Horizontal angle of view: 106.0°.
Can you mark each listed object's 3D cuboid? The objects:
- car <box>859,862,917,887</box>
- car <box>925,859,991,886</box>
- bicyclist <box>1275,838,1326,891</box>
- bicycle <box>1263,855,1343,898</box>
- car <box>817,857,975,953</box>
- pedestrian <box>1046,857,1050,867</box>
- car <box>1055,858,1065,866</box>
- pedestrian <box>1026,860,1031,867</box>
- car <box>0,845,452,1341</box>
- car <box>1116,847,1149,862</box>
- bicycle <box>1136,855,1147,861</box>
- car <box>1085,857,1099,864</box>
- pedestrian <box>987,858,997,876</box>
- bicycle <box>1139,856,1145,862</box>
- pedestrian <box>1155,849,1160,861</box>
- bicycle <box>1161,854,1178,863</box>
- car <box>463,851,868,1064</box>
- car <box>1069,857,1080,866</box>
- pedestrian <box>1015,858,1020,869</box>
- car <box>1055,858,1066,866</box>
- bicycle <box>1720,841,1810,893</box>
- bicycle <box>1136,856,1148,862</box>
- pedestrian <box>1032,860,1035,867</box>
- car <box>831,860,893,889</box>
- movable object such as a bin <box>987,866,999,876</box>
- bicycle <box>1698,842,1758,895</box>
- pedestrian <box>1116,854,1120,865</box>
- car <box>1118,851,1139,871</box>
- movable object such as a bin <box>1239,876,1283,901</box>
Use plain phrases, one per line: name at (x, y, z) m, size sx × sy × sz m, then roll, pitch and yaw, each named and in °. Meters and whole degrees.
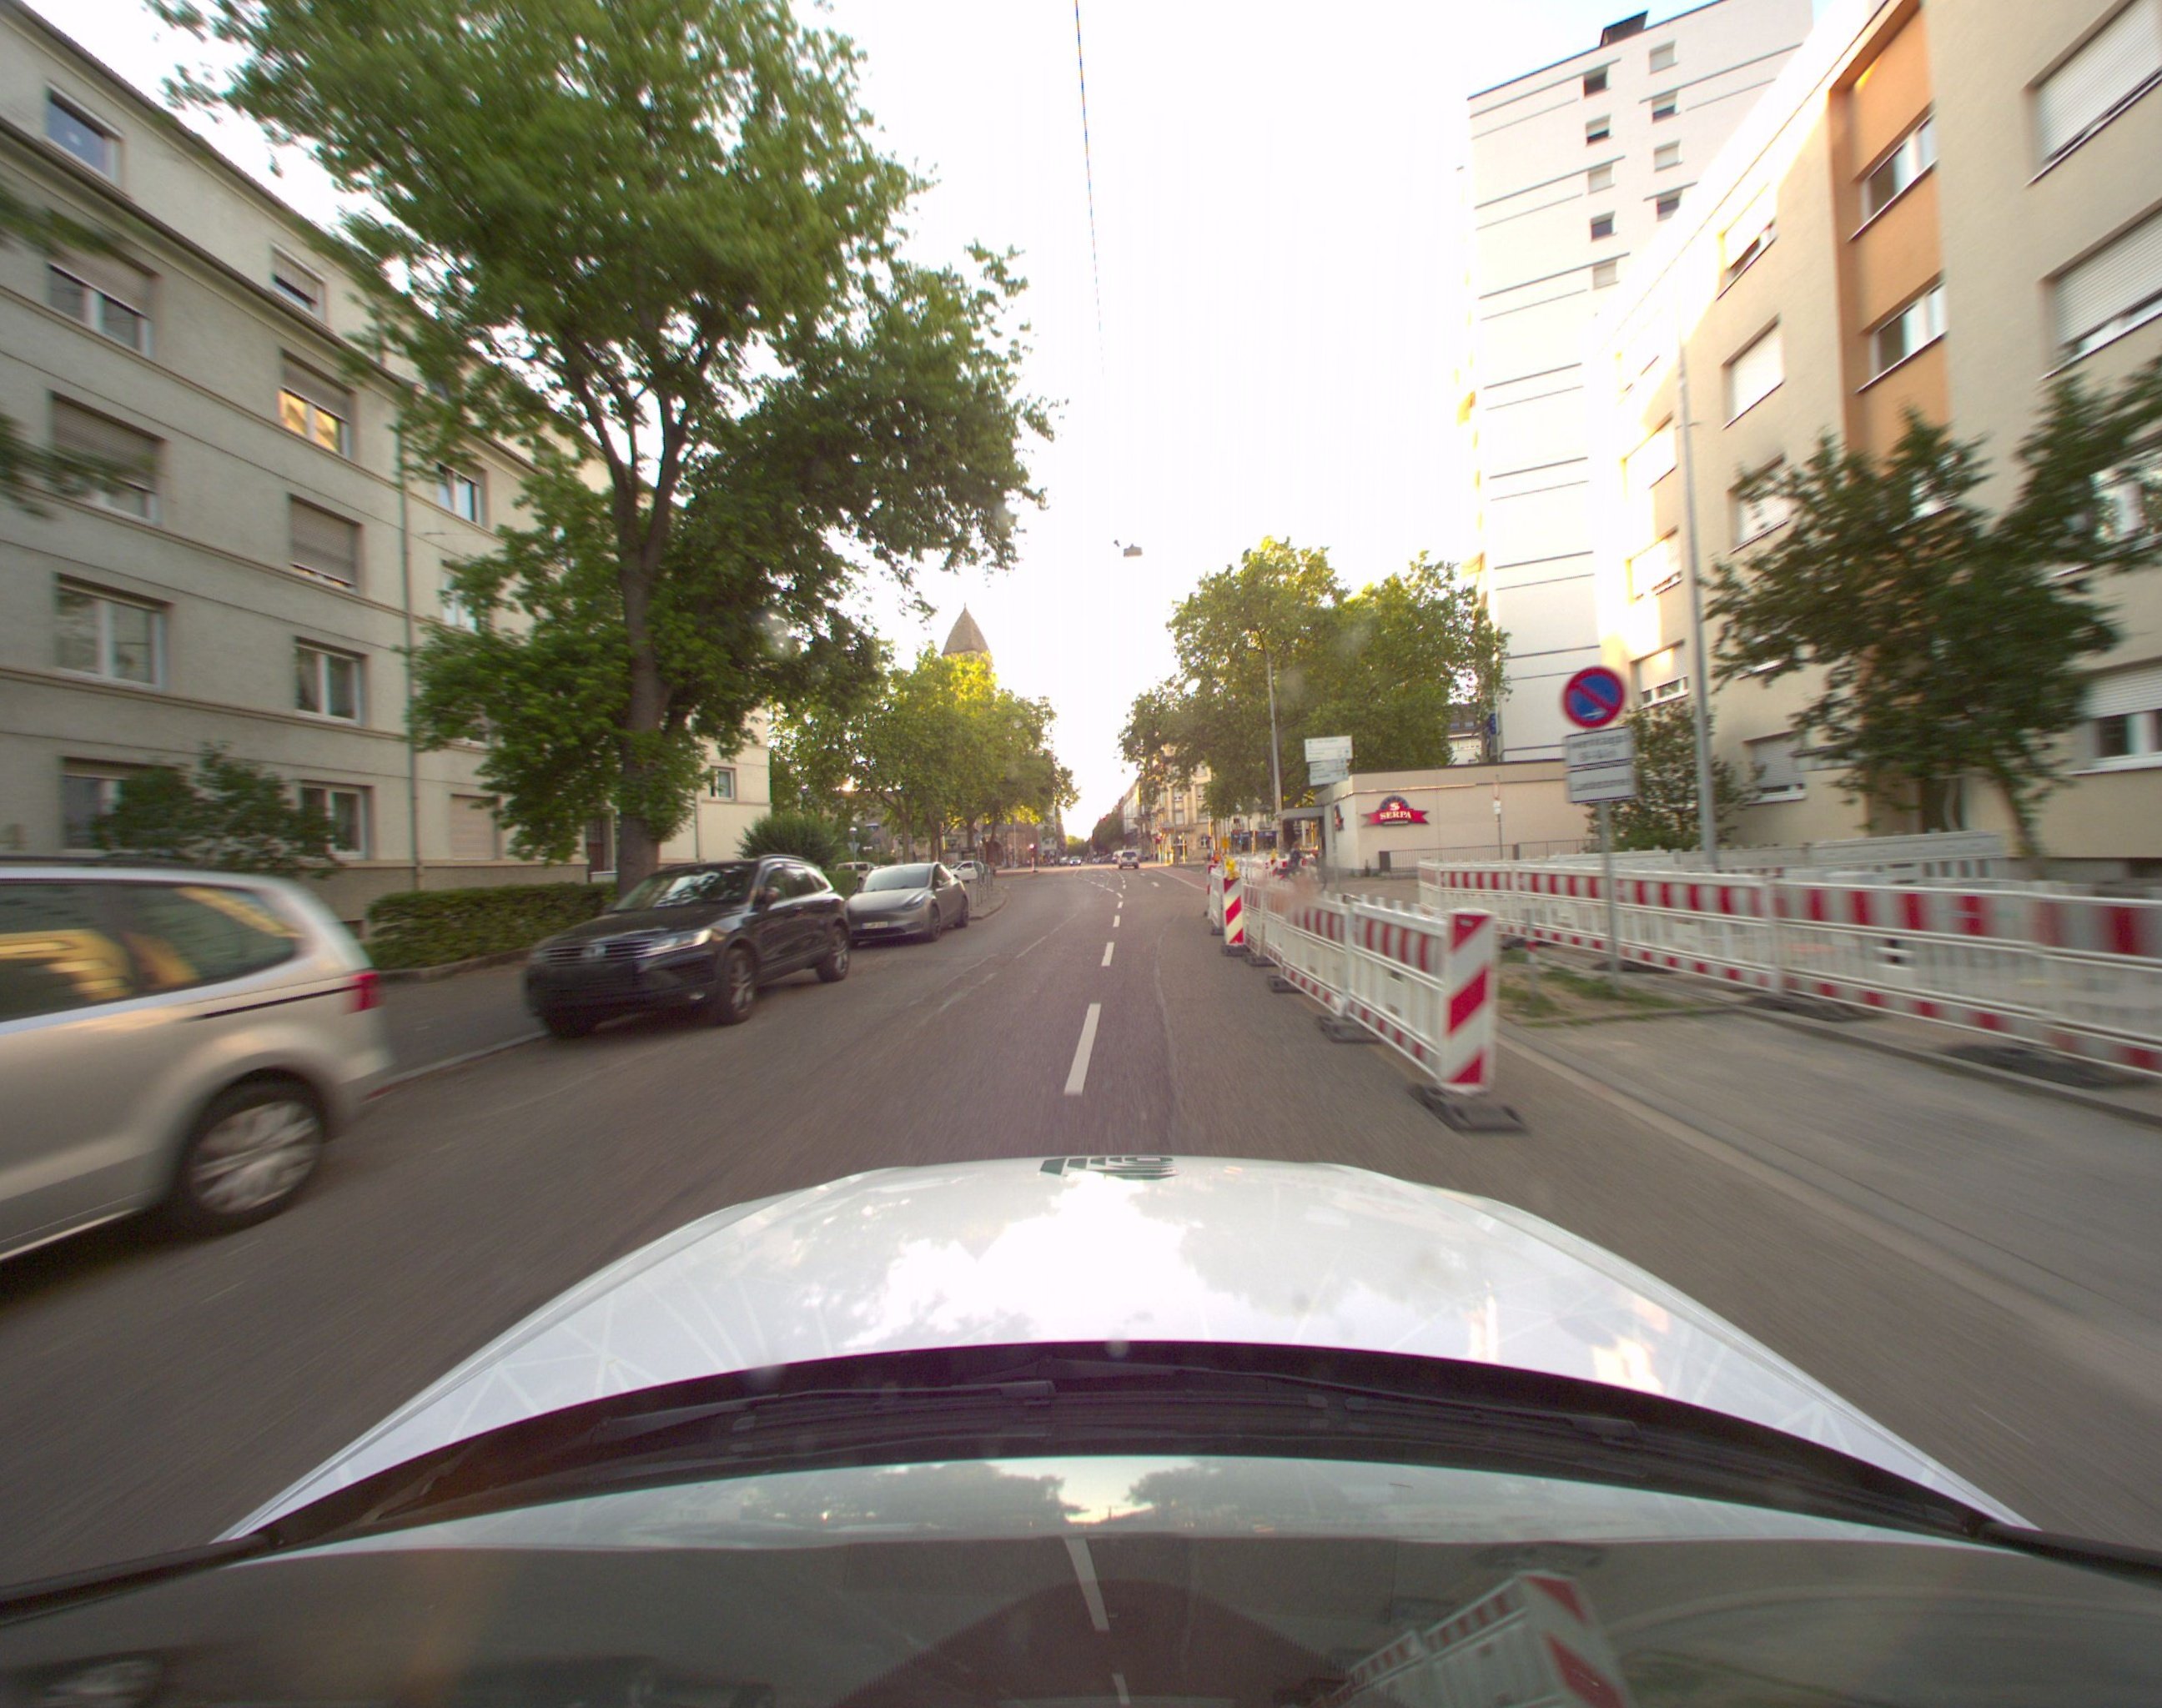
car at (-13.541, 1.412, 57.358) m, size 1.804 × 1.481 × 4.652 m, roll -3°, pitch 1°, yaw 17°
car at (-7.990, 1.191, 53.065) m, size 1.974 × 1.519 × 4.026 m, roll -3°, pitch 0°, yaw 35°
bicyclist at (7.200, 0.348, 26.701) m, size 1.147 × 1.581 × 0.935 m, roll -5°, pitch -1°, yaw -22°
bicycle at (7.276, 0.731, 26.713) m, size 2.361 × 1.172 × 0.935 m, roll -5°, pitch -1°, yaw -23°
car at (-3.726, 0.950, 17.341) m, size 1.945 × 1.616 × 4.609 m, roll -5°, pitch 0°, yaw 3°
pedestrian at (-6.559, 1.558, 163.758) m, size 0.589 × 1.886 × 0.587 m, roll -3°, pitch 0°, yaw 15°
car at (-4.574, 1.729, 178.068) m, size 1.990 × 1.651 × 3.815 m, roll -1°, pitch 0°, yaw -4°
pedestrian at (-9.931, 1.733, 154.051) m, size 0.568 × 1.291 × 0.488 m, roll -3°, pitch 0°, yaw 15°
car at (-4.677, 0.888, 2.261) m, size 1.839 × 1.690 × 4.861 m, roll -5°, pitch 0°, yaw 2°
car at (9.135, 0.079, 143.242) m, size 5.853 × 2.288 × 2.048 m, roll -3°, pitch 0°, yaw -40°
bicycle at (10.149, 0.707, 136.734) m, size 1.907 × 0.968 × 0.546 m, roll -3°, pitch 0°, yaw 2°
car at (3.344, 2.051, 251.014) m, size 3.977 × 1.816 × 1.998 m, roll -3°, pitch 0°, yaw -3°
pedestrian at (-8.624, 1.259, 78.782) m, size 0.732 × 1.629 × 0.689 m, roll -3°, pitch 0°, yaw 15°
bicycle at (10.486, 0.829, 139.064) m, size 0.539 × 0.968 × 1.930 m, roll -3°, pitch 0°, yaw 18°
pedestrian at (12.277, 0.204, 130.454) m, size 0.590 × 1.886 × 0.648 m, roll -3°, pitch 0°, yaw 6°
bicycle at (9.745, 0.494, 89.699) m, size 1.688 × 0.968 × 0.545 m, roll -3°, pitch 0°, yaw -3°
car at (-4.273, 0.911, 9.512) m, size 1.945 × 1.719 × 4.775 m, roll -5°, pitch 0°, yaw 3°
car at (-1.206, 1.340, 148.304) m, size 1.778 × 1.651 × 3.815 m, roll -1°, pitch 0°, yaw -4°
pedestrian at (-11.356, 1.690, 144.917) m, size 0.588 × 1.886 × 0.557 m, roll -3°, pitch 0°, yaw 24°
car at (-4.342, 1.669, 170.330) m, size 1.990 × 1.651 × 3.815 m, roll -1°, pitch 0°, yaw -4°
bicycle at (13.659, 0.242, 16.320) m, size 0.541 × 0.968 × 1.701 m, roll -3°, pitch 0°, yaw 8°
bicycle at (10.196, 0.822, 136.927) m, size 1.907 × 0.968 × 0.546 m, roll -3°, pitch 0°, yaw 2°
pedestrian at (-8.997, 1.768, 154.516) m, size 0.489 × 1.286 × 0.499 m, roll -3°, pitch 0°, yaw 0°
car at (-15.935, 1.497, 59.485) m, size 1.803 × 1.800 × 4.657 m, roll -3°, pitch 1°, yaw 23°
movable object such as a bin at (-8.394, 1.625, 77.790) m, size 0.732 × 0.890 × 0.987 m, roll -3°, pitch 0°, yaw 15°
bicycle at (12.789, 0.262, 16.151) m, size 0.539 × 0.968 × 1.826 m, roll -3°, pitch 0°, yaw 27°
pedestrian at (6.173, 0.877, 134.856) m, size 0.590 × 1.886 × 0.648 m, roll -3°, pitch 0°, yaw 6°
car at (4.694, 0.660, 80.947) m, size 1.859 × 1.815 × 4.002 m, roll -4°, pitch 0°, yaw 2°
movable object such as a bin at (5.756, 1.109, 26.086) m, size 0.994 × 0.689 × 0.935 m, roll -5°, pitch -1°, yaw -22°
